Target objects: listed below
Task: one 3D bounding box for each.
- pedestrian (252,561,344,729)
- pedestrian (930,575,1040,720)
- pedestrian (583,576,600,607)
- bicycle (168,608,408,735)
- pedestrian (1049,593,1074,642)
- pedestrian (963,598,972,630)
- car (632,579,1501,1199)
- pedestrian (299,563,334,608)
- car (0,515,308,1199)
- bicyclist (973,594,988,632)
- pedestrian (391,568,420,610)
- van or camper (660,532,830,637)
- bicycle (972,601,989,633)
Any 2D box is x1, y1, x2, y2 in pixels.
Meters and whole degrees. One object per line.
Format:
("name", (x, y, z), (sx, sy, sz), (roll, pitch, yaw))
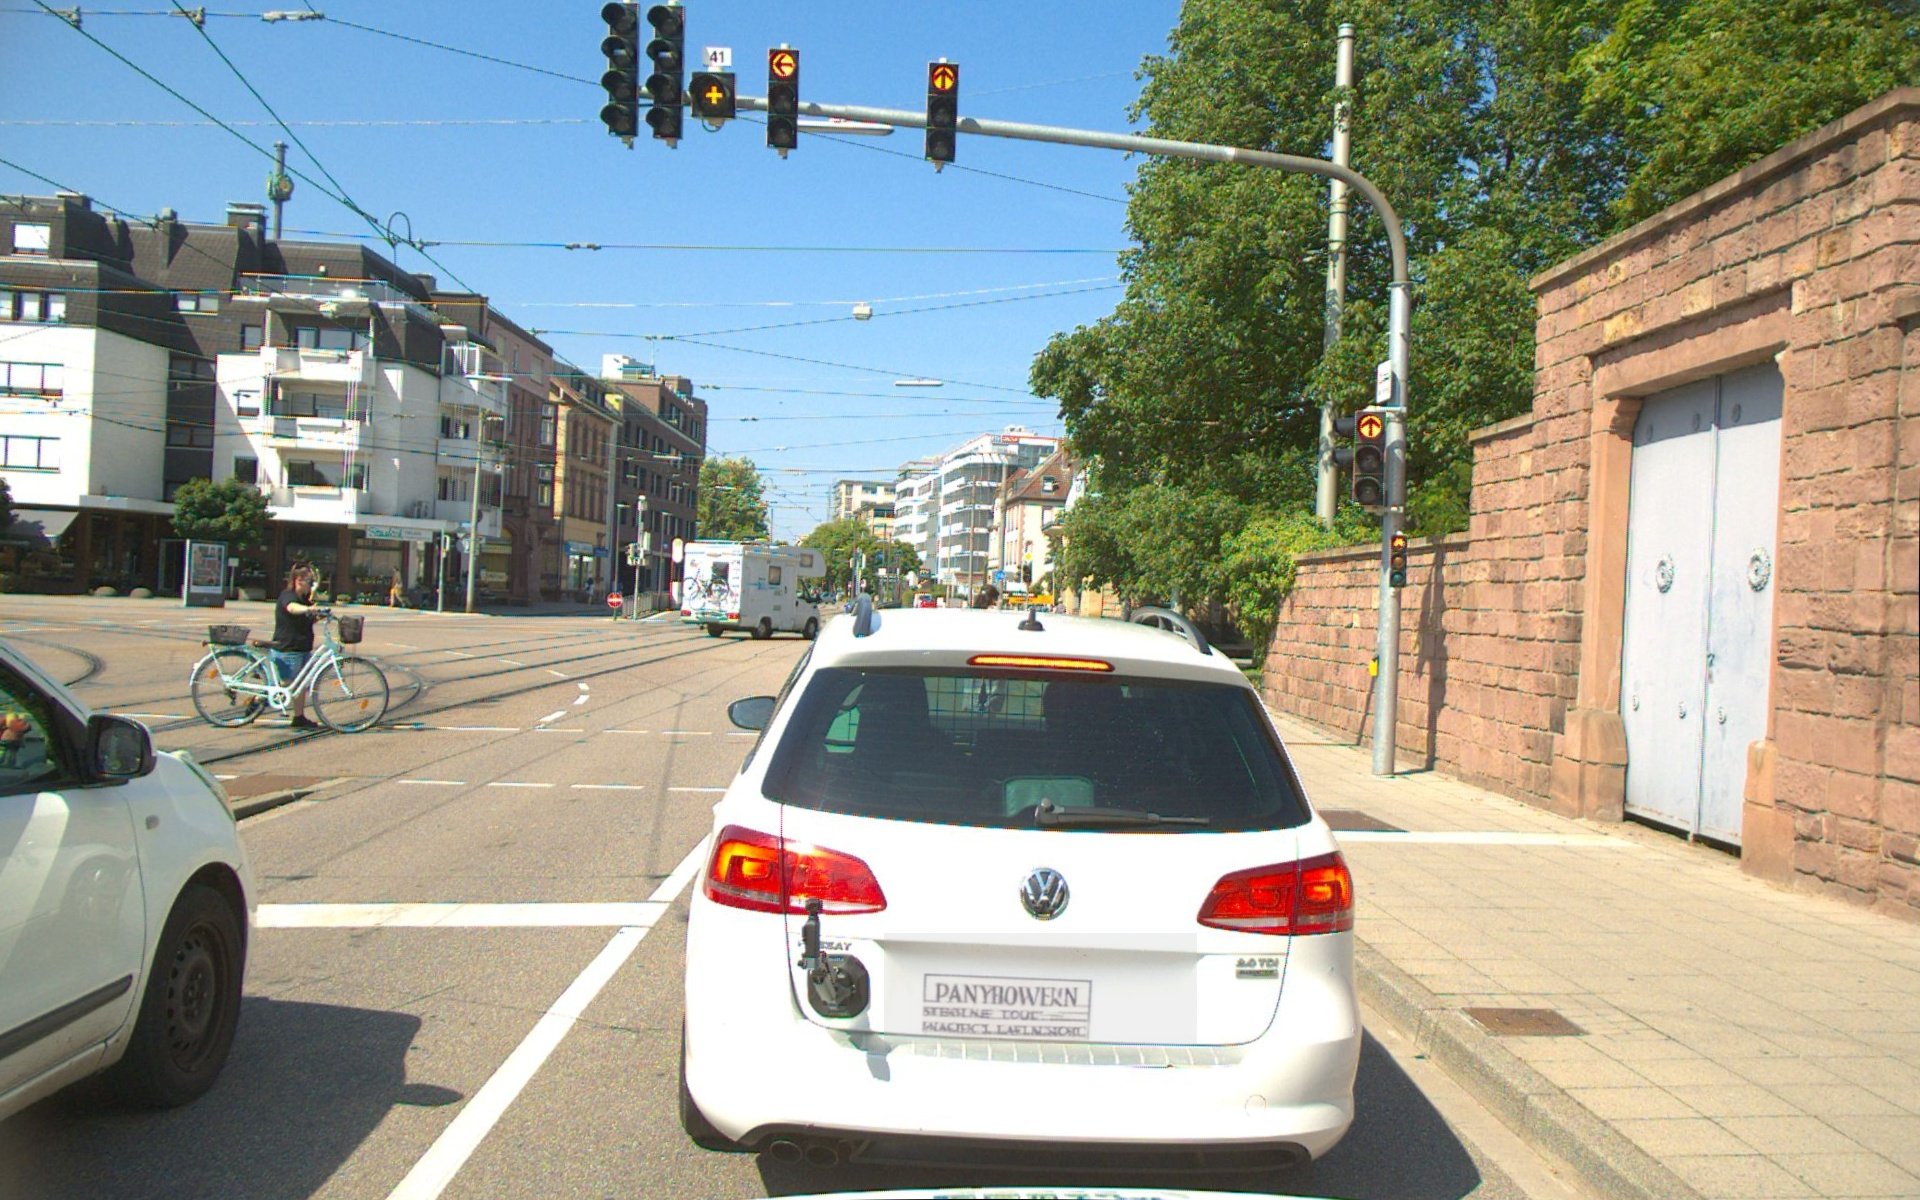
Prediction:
("pedestrian", (-6.456, 0.423, 16.160), (0.733, 1.599, 0.673), (1, 1, -15))
("pedestrian", (0.307, 0.563, 19.876), (0.937, 1.680, 0.971), (0, -1, 37))
("pedestrian", (-21.875, -0.500, 98.294), (0.845, 1.773, 0.973), (1, -1, -6))
("bicycle", (-6.285, 0.670, 15.576), (1.986, 1.109, 0.707), (2, 0, -16))
("pedestrian", (3.671, 0.632, 59.869), (0.843, 1.773, 0.975), (0, -1, 5))
("pedestrian", (0.576, 1.052, 124.185), (0.675, 2.366, 1.232), (0, -1, 0))
("car", (0.188, 0.717, 5.440), (1.771, 1.473, 3.999), (2, 0, -1))
("pedestrian", (-25.678, -0.555, 65.984), (0.846, 1.773, 0.972), (0, -1, 32))
("car", (-2.842, 0.610, 3.318), (1.608, 1.593, 3.803), (1, 1, -1))
("bicyclist", (0.888, 0.558, 71.222), (0.550, 1.641, 0.637), (1, -1, -5))
("pedestrian", (-23.472, -0.452, 69.964), (0.963, 1.773, 0.855), (1, -1, -33))
("van or camper", (-6.751, -0.413, 52.672), (2.518, 3.147, 5.694), (0, -1, 28))
("bicycle", (0.888, 0.738, 71.250), (0.547, 1.320, 2.247), (0, -1, -4))
